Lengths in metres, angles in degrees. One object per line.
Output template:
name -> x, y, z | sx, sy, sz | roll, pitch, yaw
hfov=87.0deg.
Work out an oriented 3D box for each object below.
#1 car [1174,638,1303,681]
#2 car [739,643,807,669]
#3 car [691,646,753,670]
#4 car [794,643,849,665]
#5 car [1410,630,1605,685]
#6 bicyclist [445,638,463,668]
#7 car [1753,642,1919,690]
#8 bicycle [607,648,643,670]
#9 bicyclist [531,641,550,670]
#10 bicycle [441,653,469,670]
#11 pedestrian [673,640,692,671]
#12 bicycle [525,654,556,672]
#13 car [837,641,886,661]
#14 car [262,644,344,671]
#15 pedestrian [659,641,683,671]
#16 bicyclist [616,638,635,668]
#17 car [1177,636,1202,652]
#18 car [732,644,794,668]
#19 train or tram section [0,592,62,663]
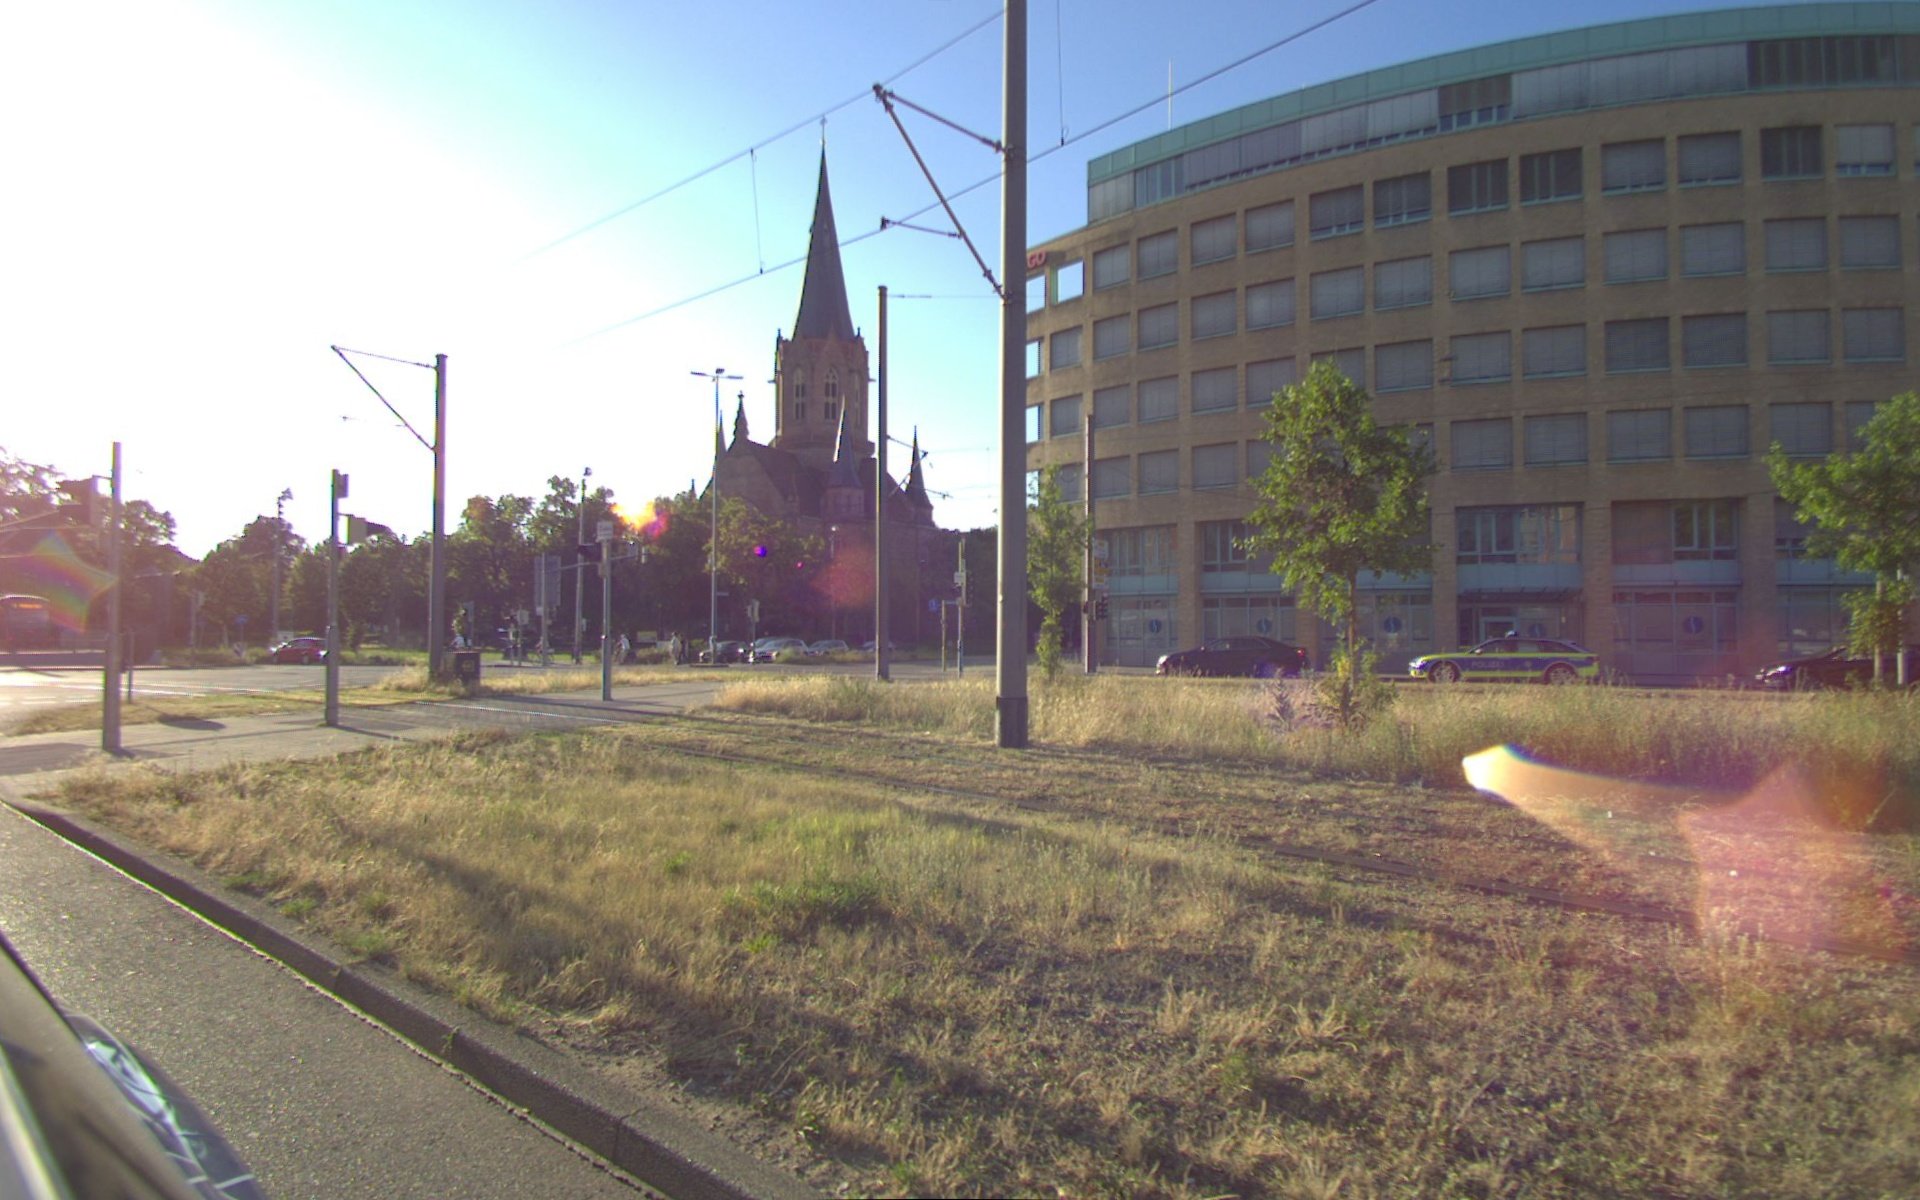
car -> 8.899, 1.877, 32.326 | 3.767, 1.292, 1.716 | -1, -2, 25
car -> -10.950, 3.266, 59.536 | 1.893, 1.431, 3.962 | -1, -3, 28
car -> -15.197, 3.676, 64.749 | 1.891, 1.431, 3.967 | -1, -3, 24
car -> -9.422, 3.651, 69.028 | 1.891, 1.431, 3.967 | -1, -3, 24
car -> 15.559, 1.630, 29.075 | 4.755, 1.492, 1.878 | -1, -3, 26
bicyclist -> -31.735, 3.316, 63.465 | 0.889, 1.841, 0.570 | -2, -1, 24
car -> 22.722, 1.666, 25.839 | 3.575, 1.162, 1.513 | -1, -2, 23
bicycle -> -18.409, 3.255, 55.617 | 1.899, 1.155, 0.458 | -1, -1, 12
bicyclist -> -24.366, 3.216, 58.736 | 0.889, 1.693, 0.570 | -2, -1, 24
bicycle -> -31.696, 3.825, 63.498 | 1.919, 1.034, 0.521 | -2, -1, 25
pedestrian -> -15.605, 3.114, 56.946 | 0.714, 1.685, 0.731 | -2, -3, 27
bicycle -> -24.357, 3.649, 58.730 | 1.919, 1.034, 0.456 | -2, -1, 25
car -> -7.194, 3.715, 74.116 | 1.891, 1.431, 3.967 | -1, -3, 24
car -> -35.190, 3.070, 54.196 | 3.857, 1.425, 1.718 | -1, -3, 20
pedestrian -> -16.076, 3.110, 56.312 | 1.100, 1.685, 0.731 | -2, -3, 27
bicyclist -> -18.389, 2.917, 55.619 | 0.812, 1.595, 0.519 | -1, -1, 12
car -> 29.029, 5.545, 127.943 | 2.219, 2.029, 4.564 | -2, -3, 24
car -> -12.312, 3.475, 63.444 | 1.891, 1.431, 3.967 | -1, -3, 24
train or tram section -> -52.876, 1.533, 54.472 | 10.507, 3.563, 2.759 | -1, -2, 24
